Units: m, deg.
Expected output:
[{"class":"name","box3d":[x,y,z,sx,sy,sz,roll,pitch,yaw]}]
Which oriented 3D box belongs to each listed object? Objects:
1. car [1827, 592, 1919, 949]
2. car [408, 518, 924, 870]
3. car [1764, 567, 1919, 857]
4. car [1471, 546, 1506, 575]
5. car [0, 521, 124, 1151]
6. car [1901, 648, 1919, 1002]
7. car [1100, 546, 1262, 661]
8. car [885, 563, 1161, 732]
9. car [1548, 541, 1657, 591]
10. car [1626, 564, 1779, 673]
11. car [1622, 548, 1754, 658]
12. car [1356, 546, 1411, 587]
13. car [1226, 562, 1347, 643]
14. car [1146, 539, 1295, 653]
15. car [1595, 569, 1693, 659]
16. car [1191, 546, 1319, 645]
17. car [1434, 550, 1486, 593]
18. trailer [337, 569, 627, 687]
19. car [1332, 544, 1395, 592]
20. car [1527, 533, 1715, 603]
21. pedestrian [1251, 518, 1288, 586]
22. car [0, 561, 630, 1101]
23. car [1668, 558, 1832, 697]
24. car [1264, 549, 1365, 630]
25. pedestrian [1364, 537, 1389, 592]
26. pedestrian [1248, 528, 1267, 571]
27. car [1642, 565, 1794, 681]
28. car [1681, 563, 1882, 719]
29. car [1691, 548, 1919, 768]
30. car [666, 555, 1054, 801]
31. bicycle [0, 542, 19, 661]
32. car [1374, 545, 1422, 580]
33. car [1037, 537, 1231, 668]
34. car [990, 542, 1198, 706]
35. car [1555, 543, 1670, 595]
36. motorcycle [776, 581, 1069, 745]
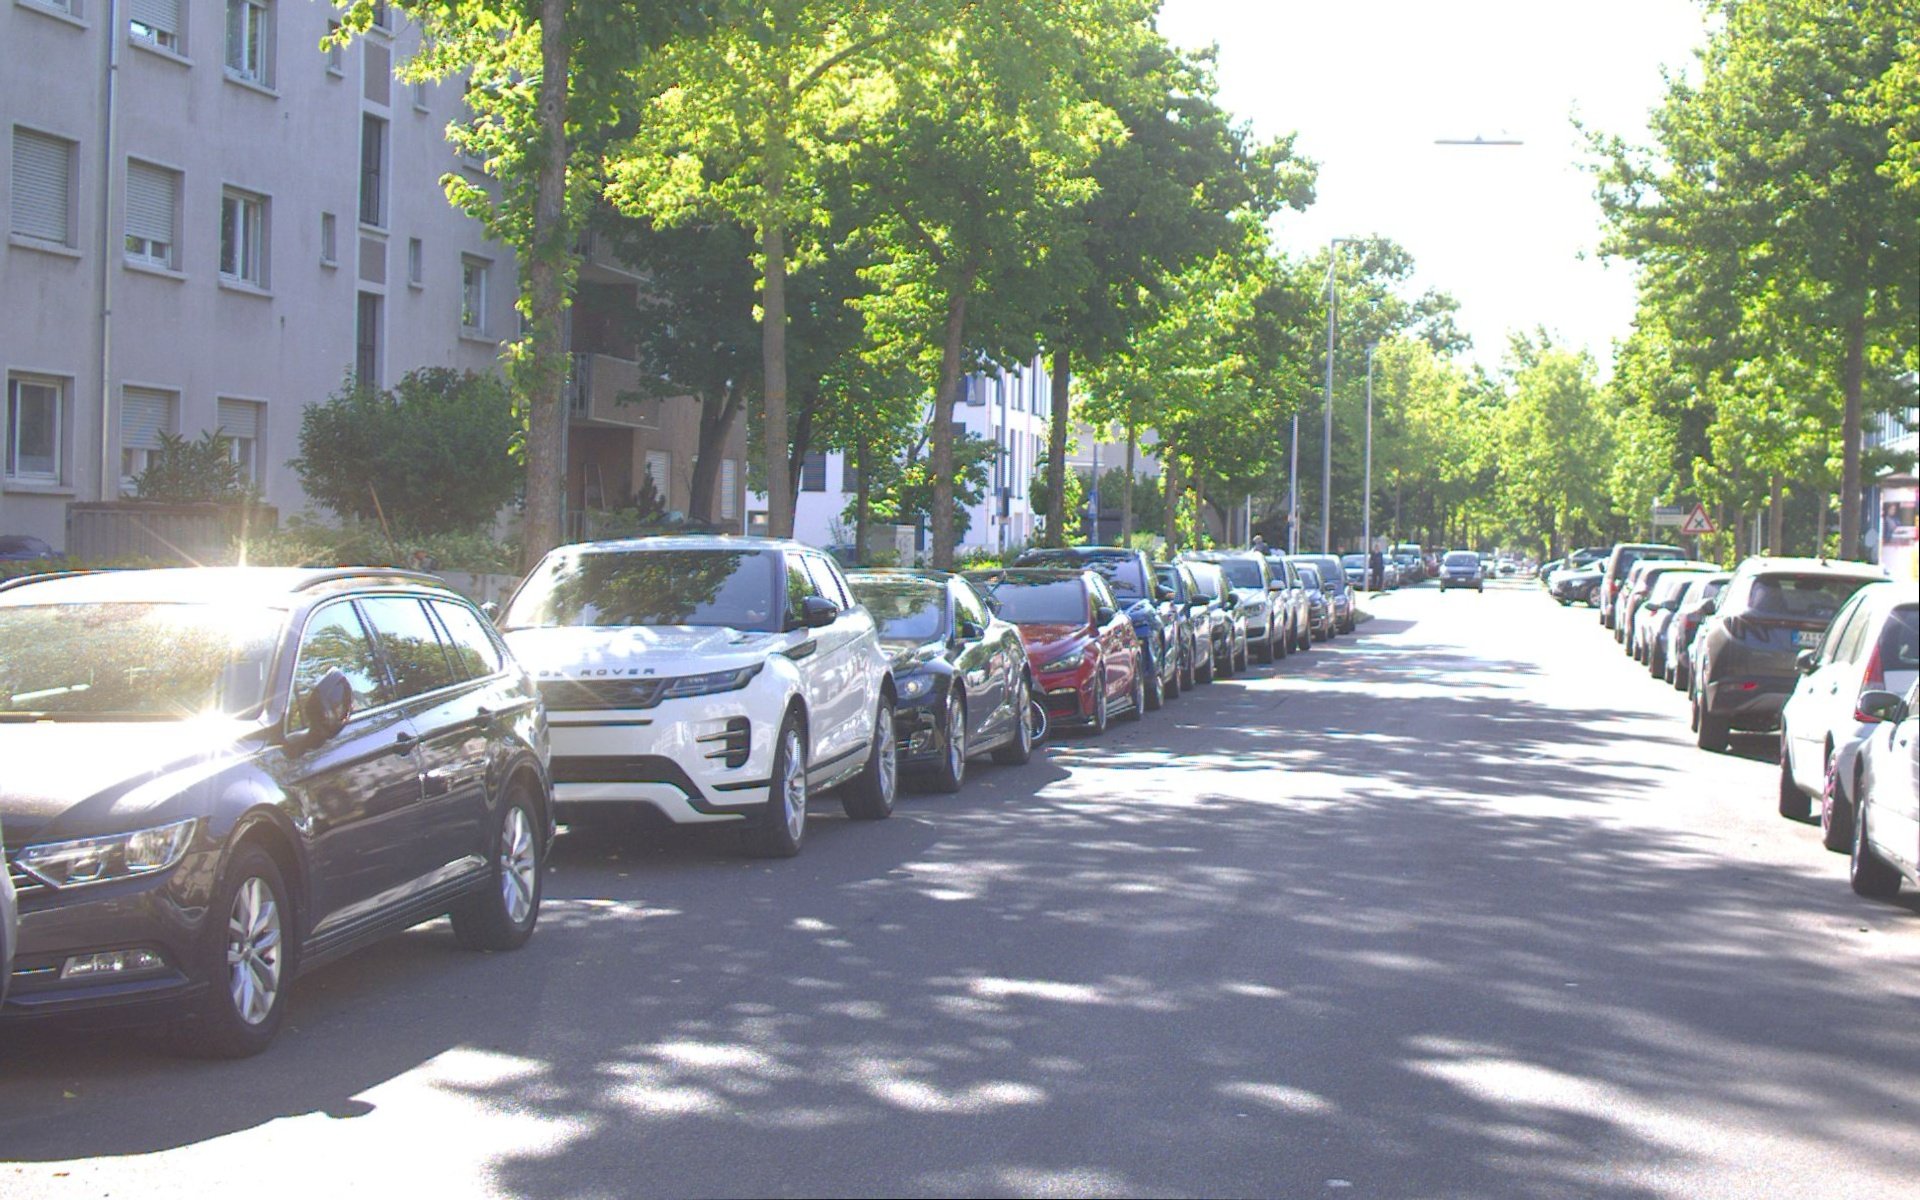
[{"class":"car","box3d":[4.962,0.750,15.026,1.711,1.406,4.860,3,1,8]},{"class":"car","box3d":[-1.421,0.420,18.394,1.729,1.612,4.365,-2,0,9]},{"class":"car","box3d":[5.902,0.631,20.672,1.655,1.527,3.968,4,1,8]},{"class":"car","box3d":[29.396,-2.183,191.150,1.895,1.555,3.999,1,1,9]},{"class":"car","box3d":[-3.514,0.578,6.837,2.064,1.519,4.721,1,1,7]},{"class":"car","box3d":[4.058,0.772,10.121,1.822,1.464,4.908,3,1,8]},{"class":"car","box3d":[2.944,0.020,45.174,1.762,1.439,3.907,0,1,9]},{"class":"car","box3d":[0.633,0.369,30.339,1.780,1.374,4.261,0,1,10]},{"class":"car","box3d":[24.967,-1.336,133.697,3.988,1.824,1.999,1,1,7]},{"class":"car","box3d":[11.441,0.252,53.218,1.898,1.469,4.698,4,1,8]},{"class":"car","box3d":[12.533,0.019,59.401,1.908,1.693,4.312,4,2,9]},{"class":"car","box3d":[17.171,-1.382,139.431,1.994,1.579,3.999,1,1,10]},{"class":"car","box3d":[6.177,0.024,64.754,1.994,1.448,4.261,-1,1,9]},{"class":"car","box3d":[3.882,-0.090,50.732,1.812,1.590,4.231,1,1,9]},{"class":"car","box3d":[15.815,0.287,79.634,1.971,1.942,4.983,2,1,9]},{"class":"car","box3d":[4.849,-0.095,56.143,1.711,1.539,3.928,-1,1,10]},{"class":"car","box3d":[19.507,-1.116,134.166,1.783,1.603,3.999,1,1,5]},{"class":"trailer","box3d":[-4.603,0.246,33.550,1.790,1.030,3.279,2,1,12]},{"class":"car","box3d":[14.616,-1.186,124.365,1.994,1.665,3.999,1,1,10]},{"class":"car","box3d":[19.129,-0.916,99.468,5.069,1.815,2.001,2,1,-24]},{"class":"pedestrian","box3d":[9.262,-1.430,102.752,0.860,2.007,0.980,1,1,18]},{"class":"car","box3d":[-2.598,0.618,11.940,1.729,1.442,4.819,-1,1,9]},{"class":"car","box3d":[9.836,0.293,43.058,1.693,1.535,4.439,3,2,10]},{"class":"car","box3d":[7.326,-0.236,70.710,1.840,1.589,4.261,0,1,9]},{"class":"pedestrian","box3d":[14.676,-1.252,121.115,0.715,1.894,0.837,1,1,0]},{"class":"pedestrian","box3d":[13.075,-2.229,151.019,0.762,1.894,0.818,1,1,3]},{"class":"car","box3d":[10.478,0.286,47.709,1.789,1.448,3.780,3,1,9]},{"class":"car","box3d":[8.895,0.397,37.499,1.751,1.449,4.460,4,2,10]},{"class":"car","box3d":[7.479,0.433,30.118,1.927,1.646,5.092,4,2,11]},{"class":"car","box3d":[-0.567,0.461,23.666,1.729,1.472,4.617,-2,0,10]},{"class":"bicycle","box3d":[-9.913,0.005,32.744,0.513,1.149,1.951,3,1,33]},{"class":"car","box3d":[20.520,-1.755,160.953,1.994,1.579,3.999,1,1,10]},{"class":"car","box3d":[2.101,-0.006,40.505,1.830,1.448,4.121,0,1,9]},{"class":"car","box3d":[1.451,0.203,35.596,1.789,1.561,4.464,-1,1,7]},{"class":"car","box3d":[23.984,-1.156,126.436,3.988,1.799,1.889,1,1,7]},{"class":"motorcycle","box3d":[-0.295,0.492,27.301,2.285,1.266,0.808,0,1,0]}]
